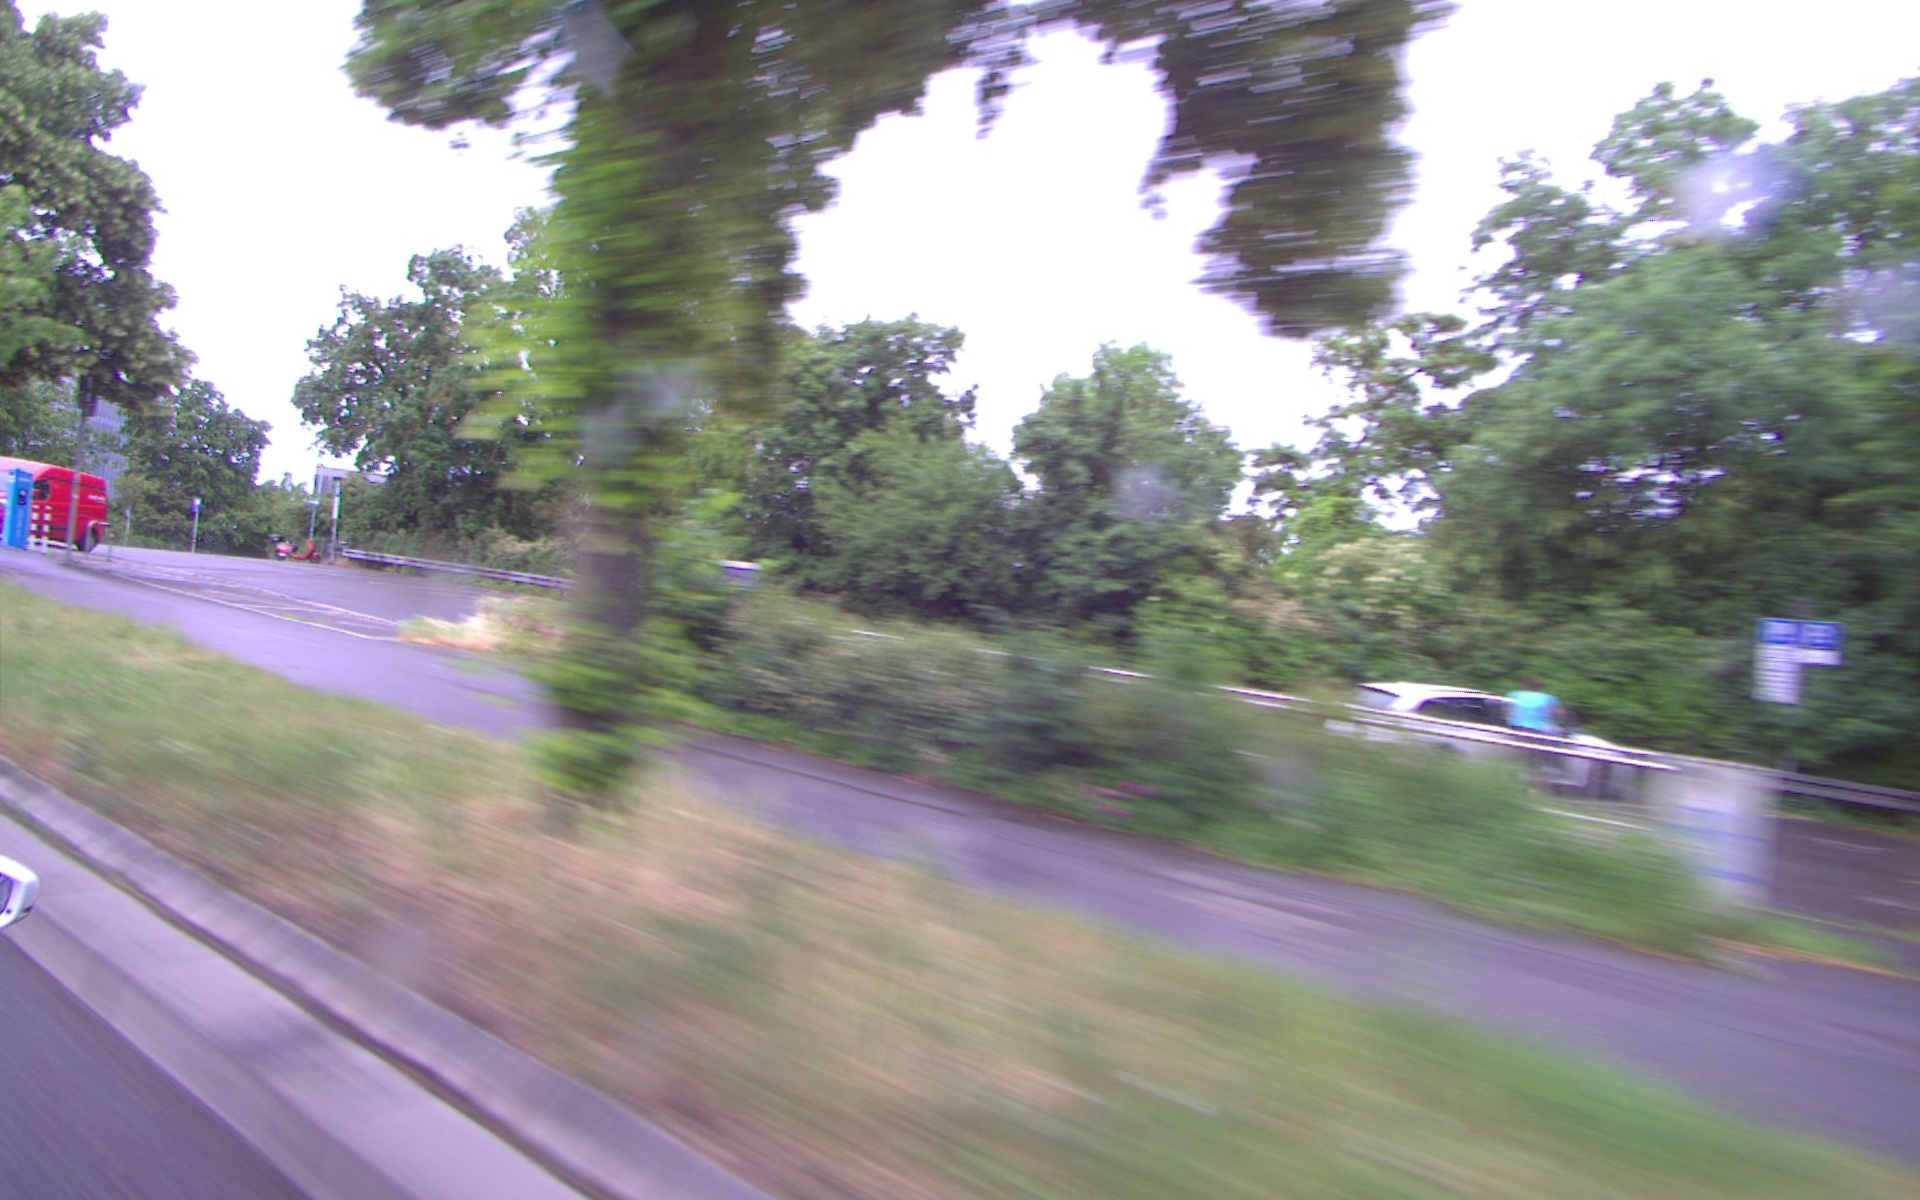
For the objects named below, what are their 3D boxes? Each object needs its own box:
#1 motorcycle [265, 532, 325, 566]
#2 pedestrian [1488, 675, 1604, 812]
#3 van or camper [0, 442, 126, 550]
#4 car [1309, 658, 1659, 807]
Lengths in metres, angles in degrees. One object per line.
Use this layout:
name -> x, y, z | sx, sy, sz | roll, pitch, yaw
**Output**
motorcycle -> -28.445, -2.176, 43.063 | 1.994, 1.227, 0.472 | 5, -4, -18
pedestrian -> 8.536, 2.075, 14.692 | 0.927, 1.794, 0.894 | 6, 2, -9
van or camper -> -26.792, -3.039, 28.821 | 2.011, 2.430, 5.382 | 11, -4, -14
car -> 8.294, 2.077, 16.136 | 4.572, 1.598, 1.997 | 8, 0, -9
